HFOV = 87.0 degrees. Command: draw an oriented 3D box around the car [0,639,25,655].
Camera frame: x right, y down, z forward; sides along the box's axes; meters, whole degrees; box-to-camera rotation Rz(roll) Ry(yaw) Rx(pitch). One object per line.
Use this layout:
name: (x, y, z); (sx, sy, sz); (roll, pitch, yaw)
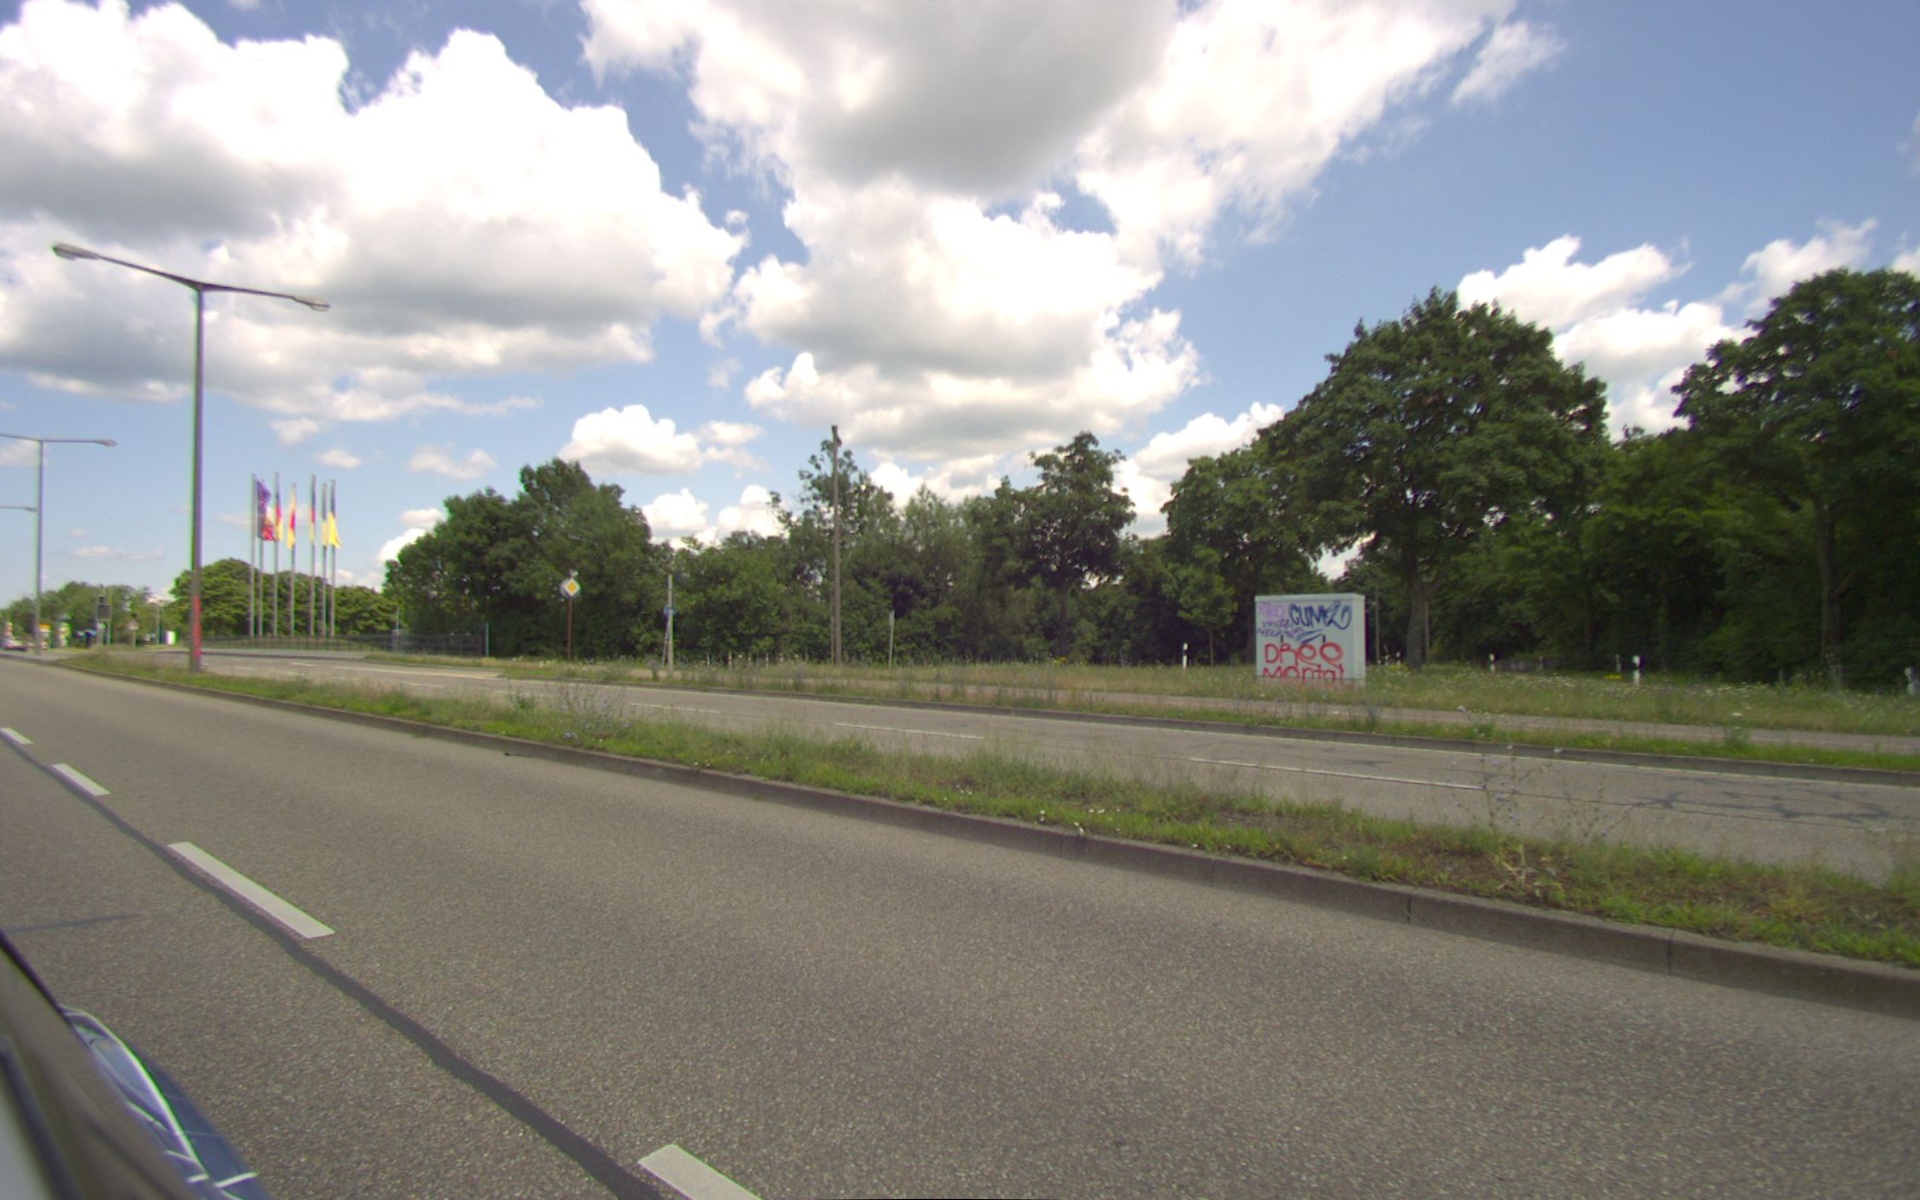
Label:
car: (-105.980, 5.236, 112.552); (4.544, 1.639, 2.068); (-3, -8, 39)
